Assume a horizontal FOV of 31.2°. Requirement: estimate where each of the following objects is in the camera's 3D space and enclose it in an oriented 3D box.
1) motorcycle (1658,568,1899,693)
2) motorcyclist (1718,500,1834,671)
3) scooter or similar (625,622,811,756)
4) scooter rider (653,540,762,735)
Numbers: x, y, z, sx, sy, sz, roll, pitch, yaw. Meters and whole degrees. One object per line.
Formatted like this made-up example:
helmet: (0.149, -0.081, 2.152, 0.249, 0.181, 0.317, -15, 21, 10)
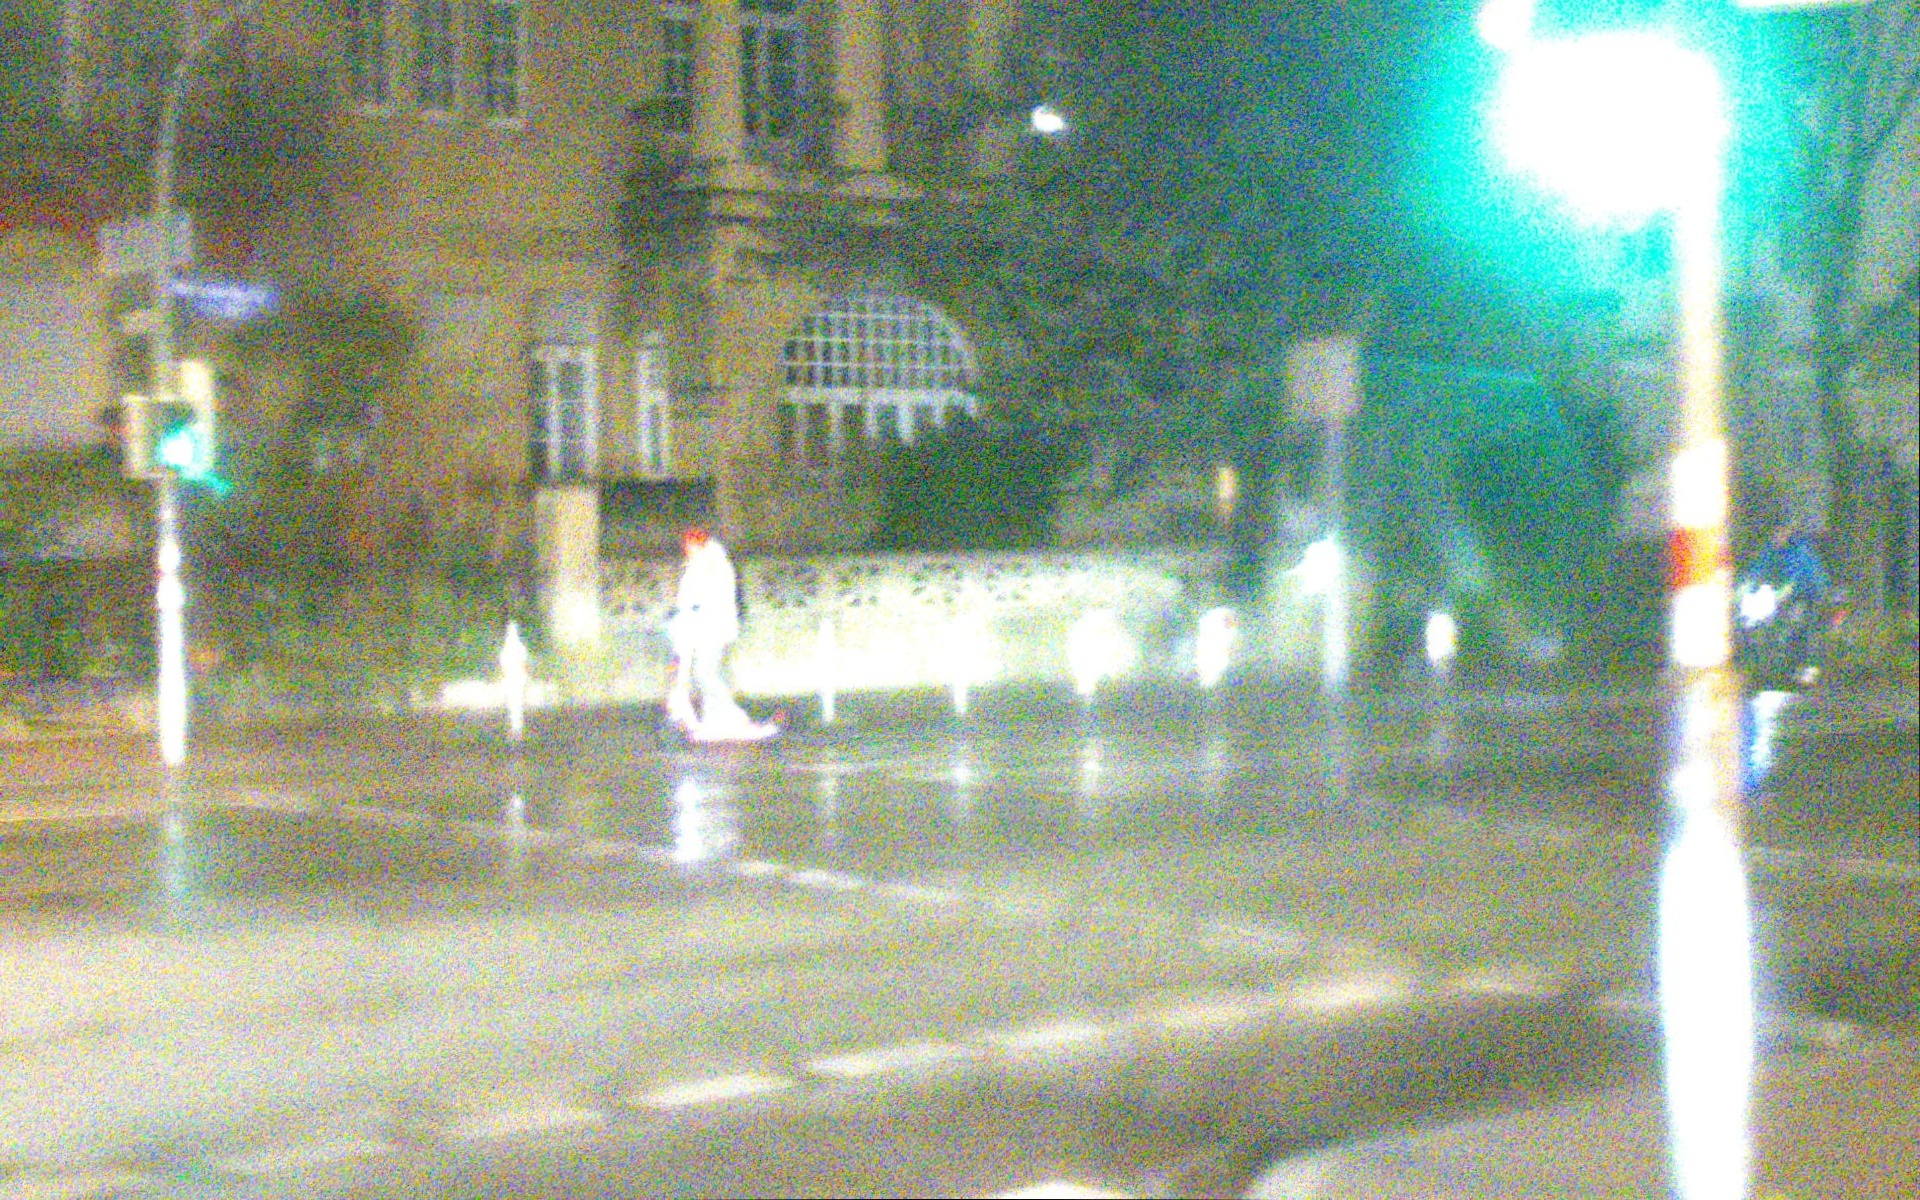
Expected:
motorcycle: (8.460, 0.316, 35.623, 2.318, 1.226, 0.710, -1, -1, 5)
motorcyclist: (8.452, -0.146, 35.634, 1.025, 1.725, 0.710, -1, -1, 5)
scooter or similar: (-1.997, 0.725, 28.374, 1.364, 1.048, 0.642, 0, 3, -29)
scooter rider: (-2.086, 0.302, 28.311, 0.650, 1.567, 0.642, 0, 2, -29)
